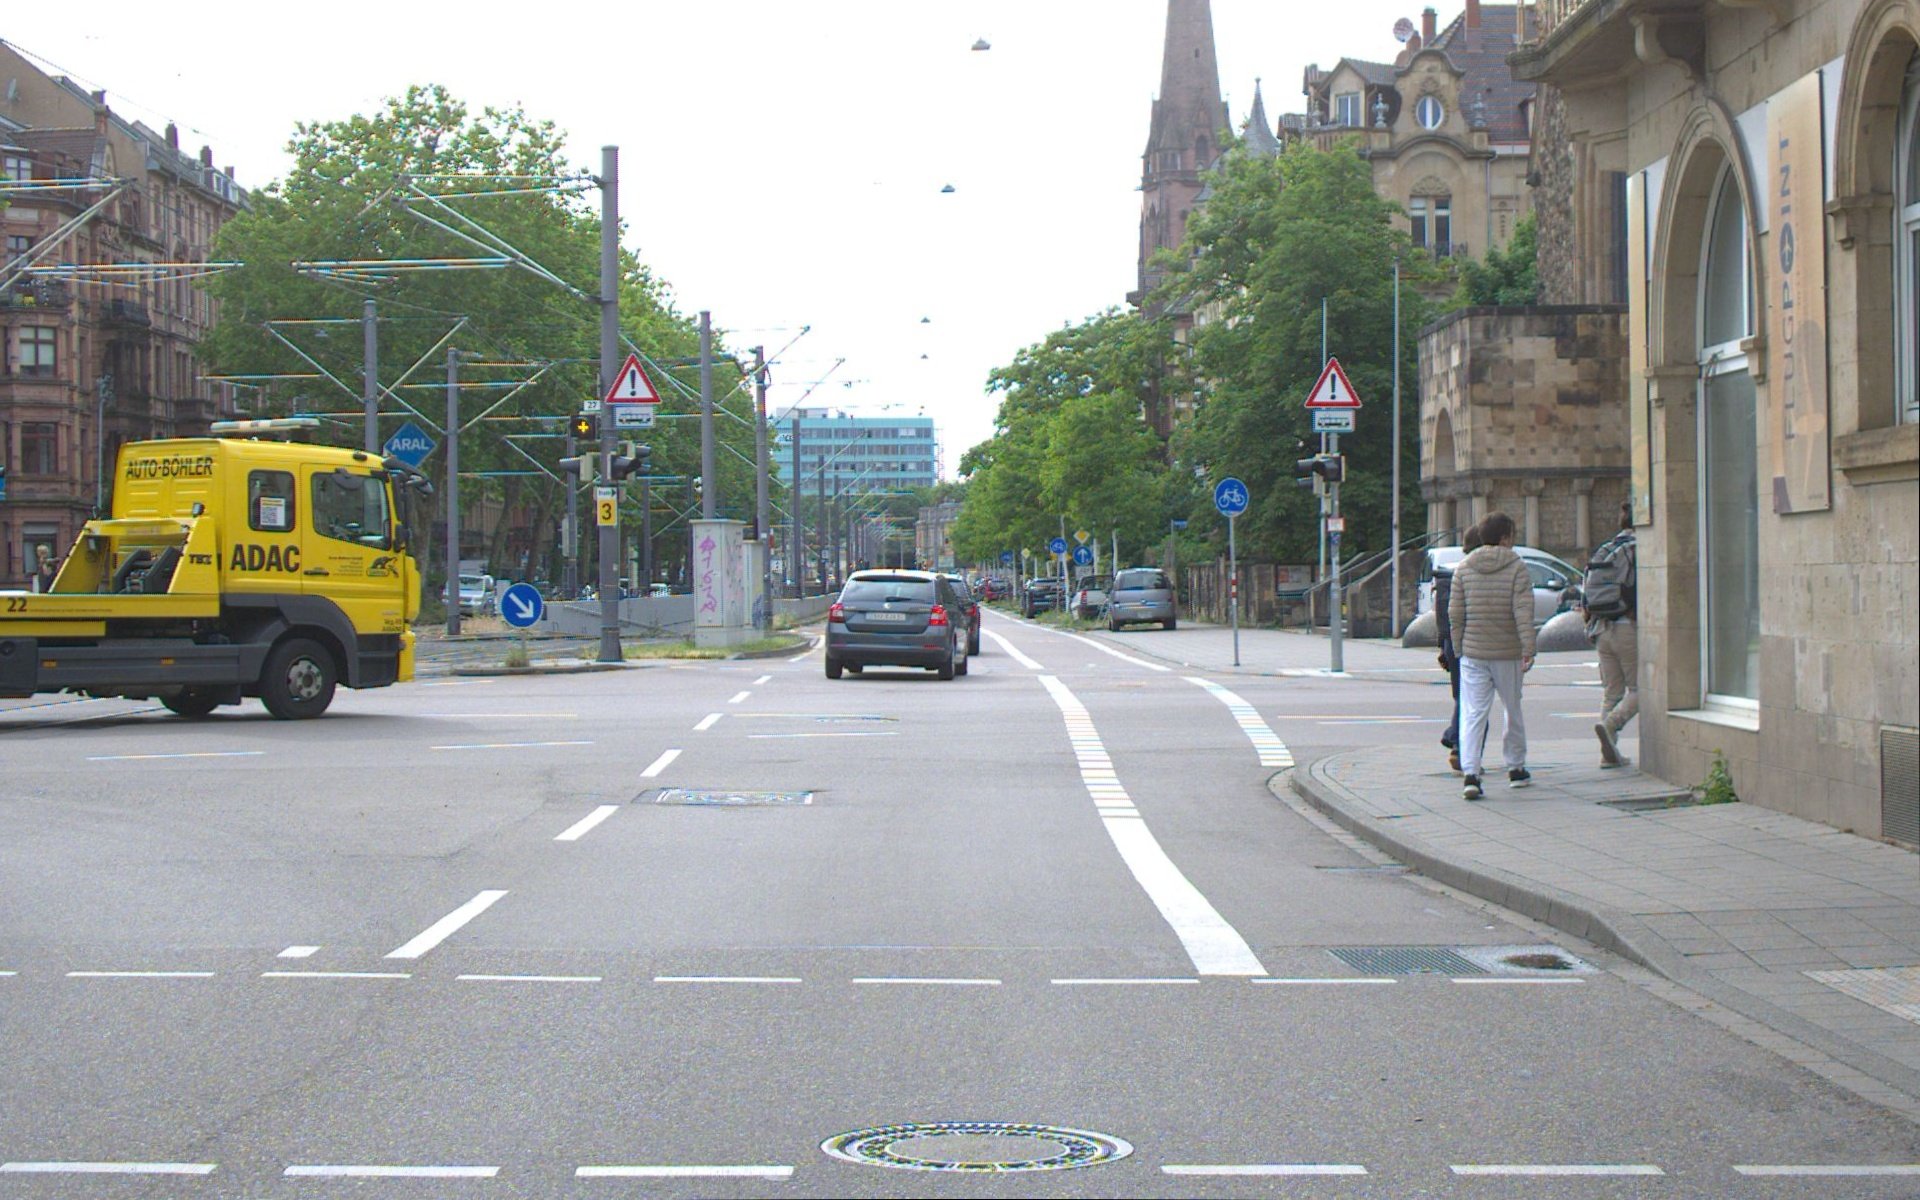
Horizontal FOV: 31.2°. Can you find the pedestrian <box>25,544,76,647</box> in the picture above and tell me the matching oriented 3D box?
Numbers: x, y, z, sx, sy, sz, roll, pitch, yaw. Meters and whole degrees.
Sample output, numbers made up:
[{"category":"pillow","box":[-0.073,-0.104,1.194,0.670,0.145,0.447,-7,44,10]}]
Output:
[{"category":"pedestrian","box":[-13.704,-0.064,51.800,0.653,1.532,0.466,1,0,-5]}]

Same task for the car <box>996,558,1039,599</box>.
[{"category":"car","box":[2.875,-1.097,172.410,1.993,2.007,4.000,1,0,-1]}]

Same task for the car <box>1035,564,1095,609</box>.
[{"category":"car","box":[3.912,-0.494,128.397,1.993,1.602,4.164,-2,0,-1]}]

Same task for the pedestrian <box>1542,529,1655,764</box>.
[{"category":"pedestrian","box":[4.413,0.315,23.806,0.700,1.587,0.831,1,0,8]}]

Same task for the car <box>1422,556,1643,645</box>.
[{"category":"car","box":[10.771,-0.003,64.902,3.799,1.595,2.000,1,0,0]}]

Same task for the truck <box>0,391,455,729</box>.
[{"category":"truck","box":[-9.541,-0.366,30.586,10.150,2.931,2.636,0,1,-41]}]

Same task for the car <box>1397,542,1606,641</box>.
[{"category":"car","box":[10.734,-0.172,68.312,3.799,1.897,2.000,1,0,0]}]

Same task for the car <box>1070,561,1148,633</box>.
[{"category":"car","box":[4.286,-0.101,99.666,1.993,2.007,4.000,1,0,-1]}]

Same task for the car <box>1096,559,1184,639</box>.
[{"category":"car","box":[4.693,-0.038,90.017,1.993,2.007,4.000,1,0,-1]}]

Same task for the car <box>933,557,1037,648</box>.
[{"category":"car","box":[0.422,0.037,62.928,1.806,1.581,4.341,1,0,-1]}]

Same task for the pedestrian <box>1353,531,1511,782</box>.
[{"category":"pedestrian","box":[3.185,0.370,23.173,0.627,1.647,0.994,1,0,37]}]

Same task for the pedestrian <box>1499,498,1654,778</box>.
[{"category":"pedestrian","box":[4.060,0.239,22.608,0.627,1.772,1.132,-3,-1,26]}]

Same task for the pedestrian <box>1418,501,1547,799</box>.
[{"category":"pedestrian","box":[3.272,0.301,21.465,0.583,1.807,1.014,1,0,19]}]

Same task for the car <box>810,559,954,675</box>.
[{"category":"car","box":[-1.046,0.205,46.375,1.835,1.464,3.993,1,0,-1]}]
